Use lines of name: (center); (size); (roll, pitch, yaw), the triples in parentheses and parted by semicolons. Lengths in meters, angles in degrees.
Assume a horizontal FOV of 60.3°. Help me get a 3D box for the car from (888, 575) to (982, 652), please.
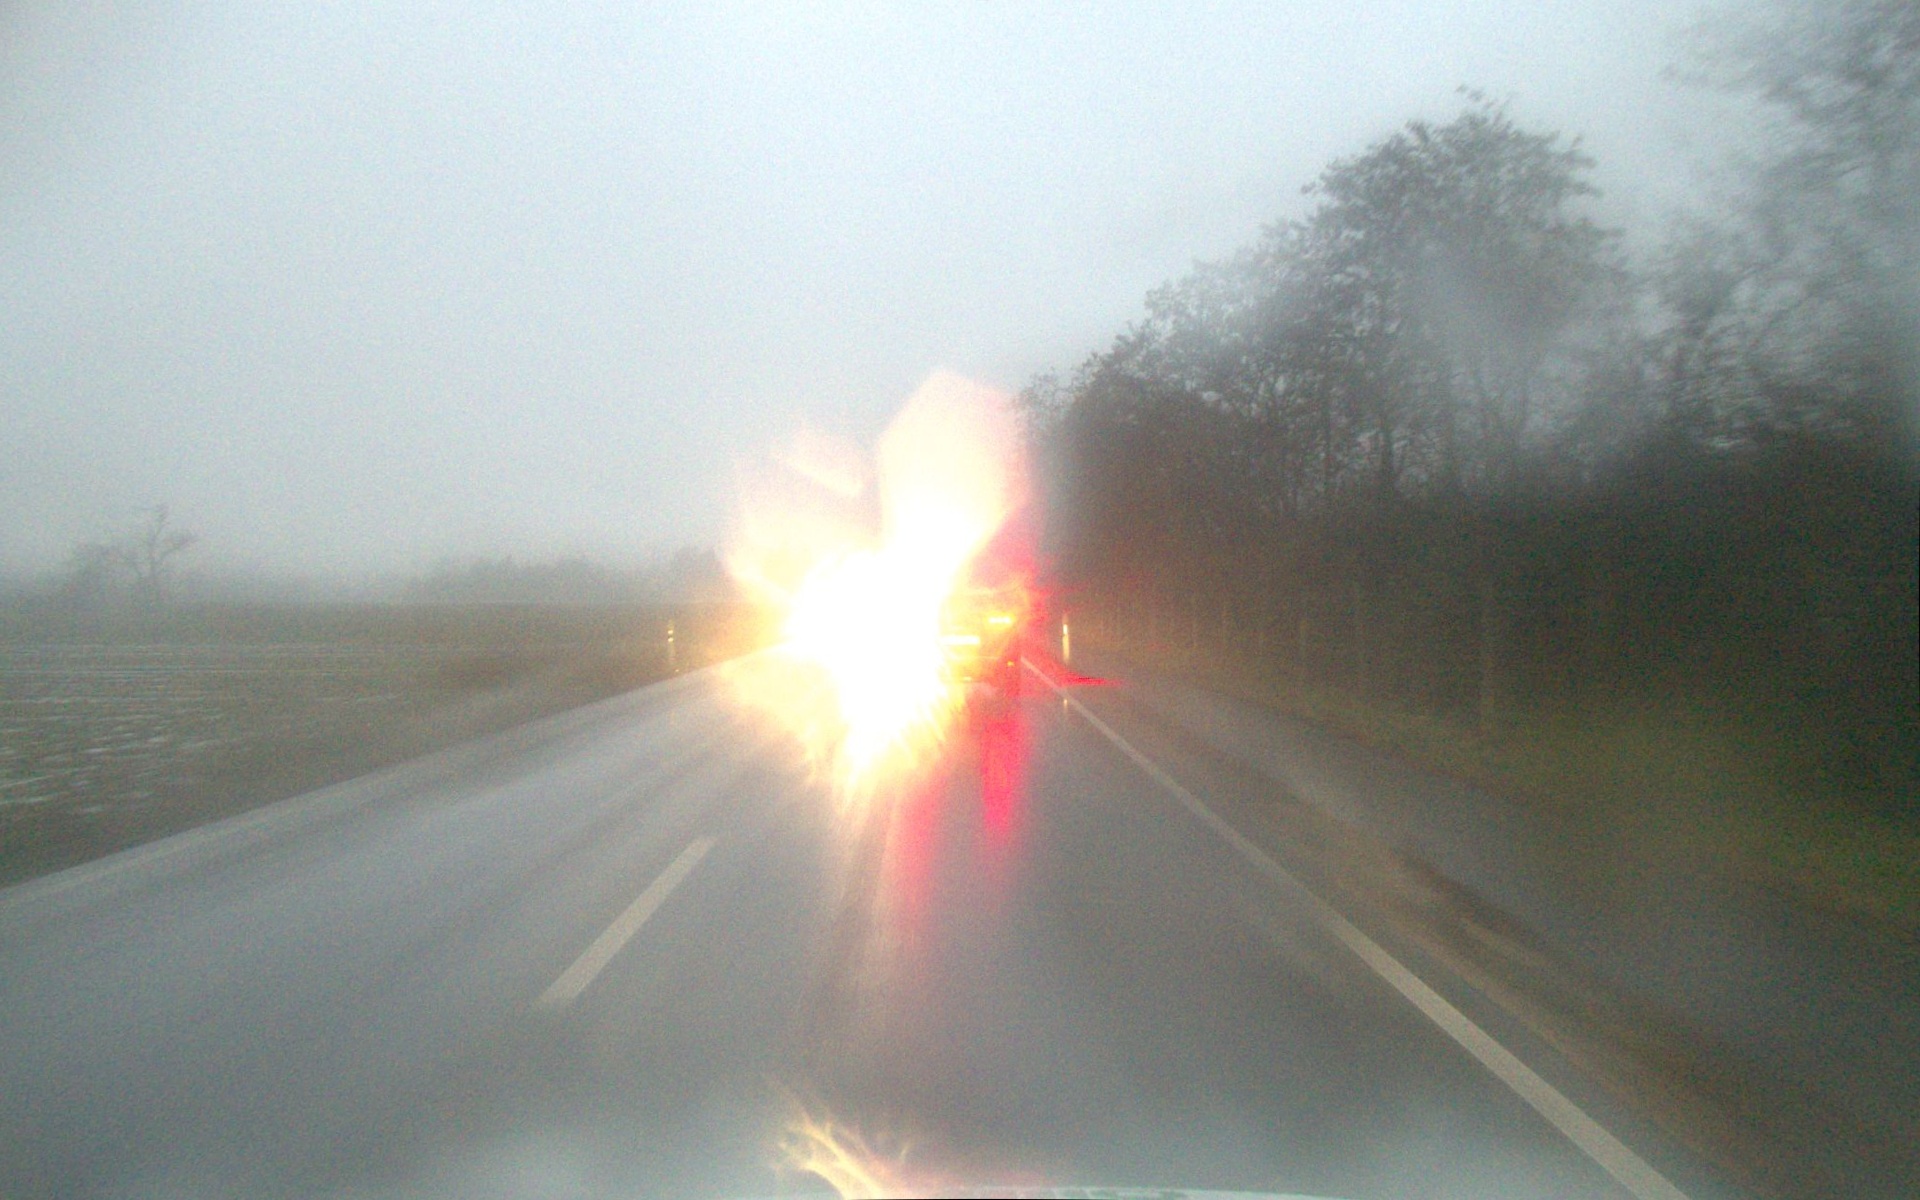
car: (-0.678, 0.376, 48.455); (2.539, 2.049, 5.804); (1, 0, 0)

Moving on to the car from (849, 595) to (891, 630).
car: (-3.944, 0.543, 73.061); (1.693, 1.438, 4.022); (-3, 0, -1)

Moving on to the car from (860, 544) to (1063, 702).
car: (0.024, 0.318, 25.779); (2.762, 2.113, 5.804); (1, 0, 0)
